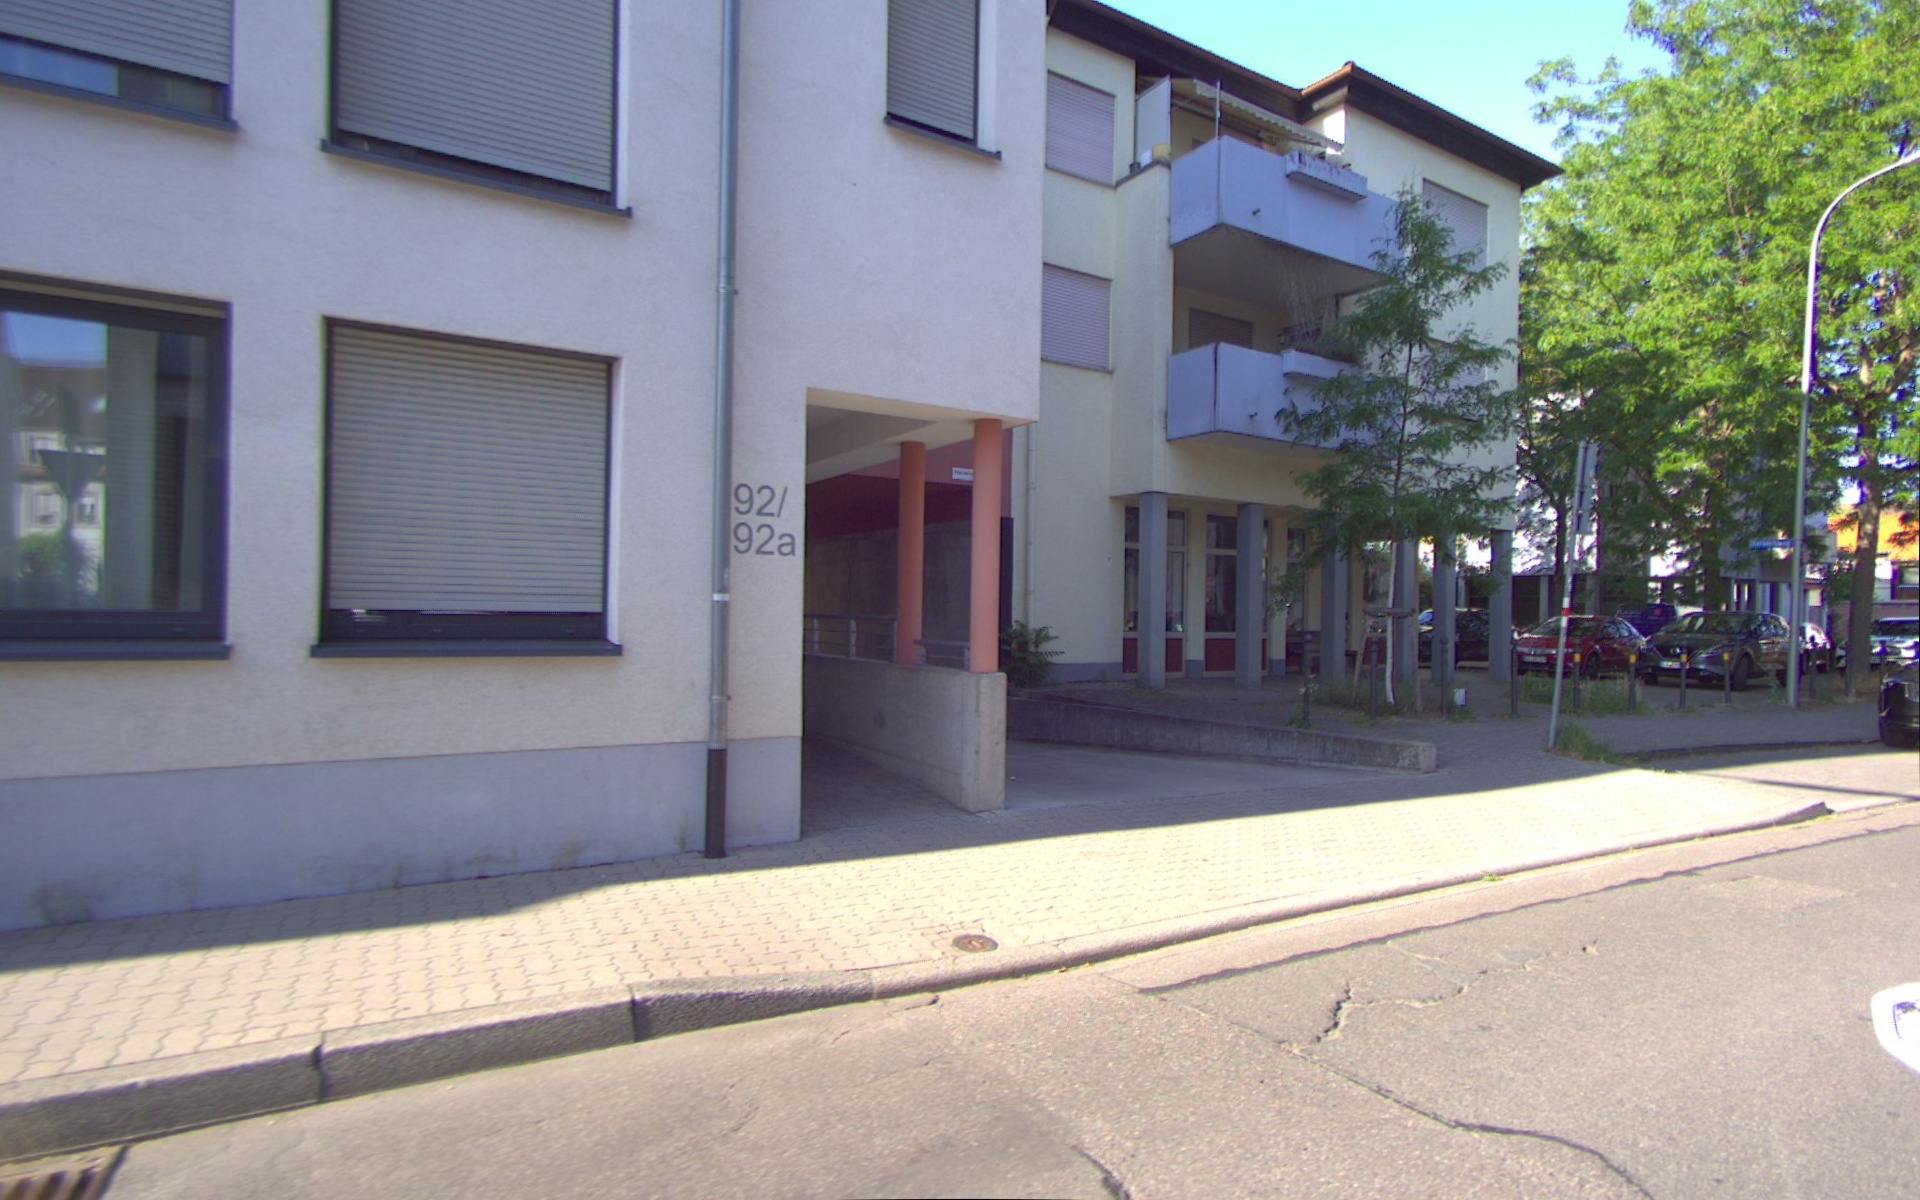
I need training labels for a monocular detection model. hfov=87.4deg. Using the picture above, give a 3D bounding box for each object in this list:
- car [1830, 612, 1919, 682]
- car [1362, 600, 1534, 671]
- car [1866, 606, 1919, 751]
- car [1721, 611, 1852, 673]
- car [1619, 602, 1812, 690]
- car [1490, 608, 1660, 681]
[{"bbox_3d":[25.770,1.248,27.534,3.921,1.712,1.779,1,2,-32],"label":"car"},{"bbox_3d":[12.653,0.885,25.966,4.571,1.608,1.847,1,2,-33],"label":"car"},{"bbox_3d":[14.305,1.052,13.471,4.552,1.815,1.844,1,1,-30],"label":"car"},{"bbox_3d":[24.371,1.205,29.607,3.630,1.608,1.848,1,2,-32],"label":"car"},{"bbox_3d":[16.302,0.934,21.613,4.573,1.608,1.846,1,2,-34],"label":"car"},{"bbox_3d":[14.371,1.000,23.434,4.098,1.468,1.708,1,2,-33],"label":"car"}]
